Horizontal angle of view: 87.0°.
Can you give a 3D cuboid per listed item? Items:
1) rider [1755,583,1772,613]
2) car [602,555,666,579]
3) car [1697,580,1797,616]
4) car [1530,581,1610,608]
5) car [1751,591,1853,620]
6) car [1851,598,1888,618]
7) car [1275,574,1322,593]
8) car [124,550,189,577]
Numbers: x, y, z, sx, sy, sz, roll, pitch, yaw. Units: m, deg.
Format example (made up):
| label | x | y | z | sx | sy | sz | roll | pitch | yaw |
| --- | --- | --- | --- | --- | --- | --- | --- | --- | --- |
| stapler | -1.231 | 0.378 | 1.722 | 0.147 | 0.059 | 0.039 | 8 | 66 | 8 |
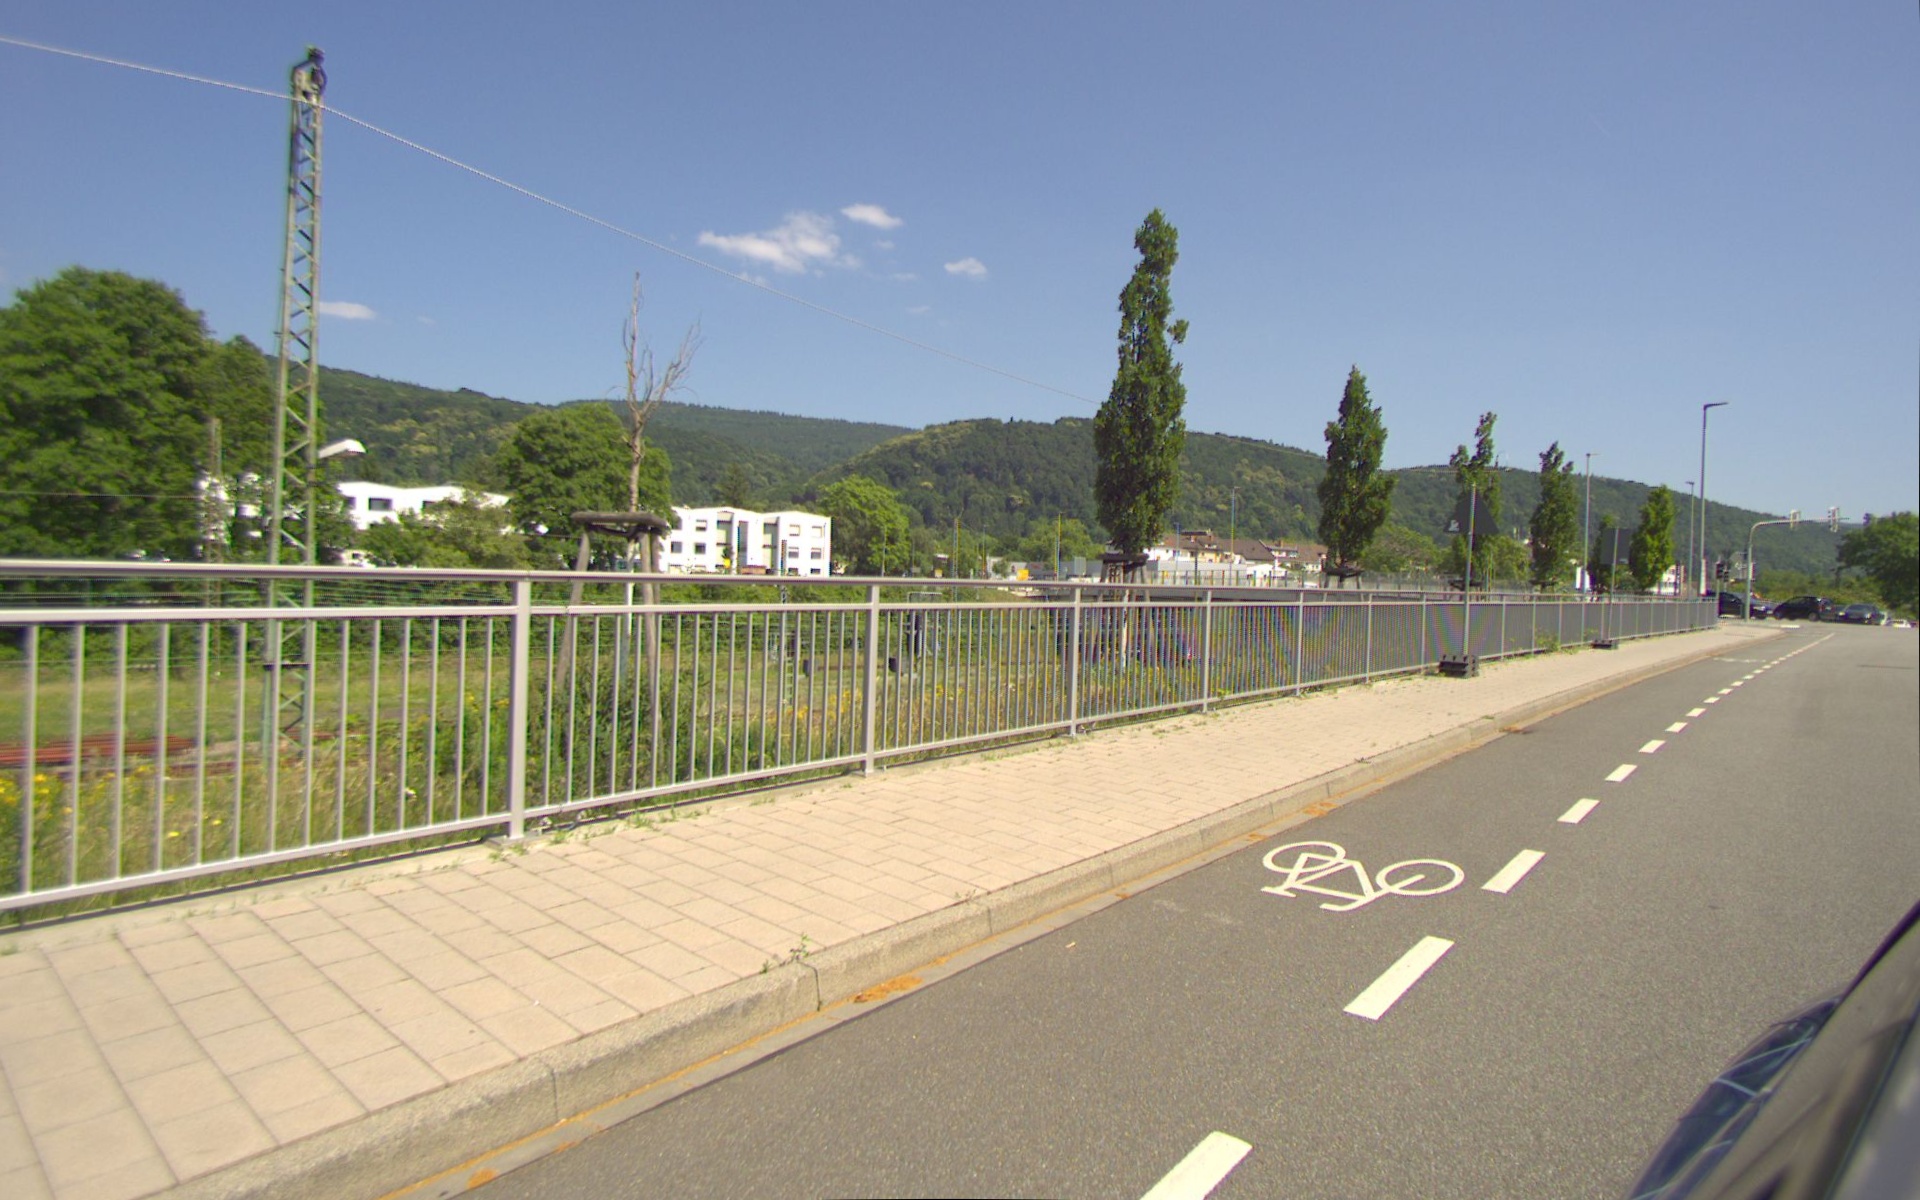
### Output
| label | x | y | z | sx | sy | sz | roll | pitch | yaw |
| --- | --- | --- | --- | --- | --- | --- | --- | --- | --- |
| rider | 51.568 | -0.136 | 64.981 | 0.536 | 1.835 | 0.687 | -2 | 2 | -22 |
| car | -31.389 | -3.181 | 97.487 | 5.420 | 2.129 | 2.132 | -2 | -2 | -39 |
| car | 46.319 | -0.167 | 59.662 | 1.793 | 1.871 | 4.381 | -2 | 3 | -20 |
| car | 42.269 | -0.401 | 70.266 | 1.793 | 1.672 | 4.779 | -2 | 3 | -18 |
| car | 50.055 | 0.282 | 60.280 | 1.794 | 1.509 | 4.380 | -2 | 3 | -21 |
| car | 60.224 | 0.513 | 67.035 | 1.603 | 1.271 | 3.631 | 2 | 2 | 39 |
| car | 31.664 | -1.560 | 94.845 | 1.793 | 1.672 | 4.592 | -2 | 3 | -19 |
| car | -64.788 | -2.937 | 81.669 | 3.857 | 2.039 | 1.756 | -1 | -2 | -32 |
